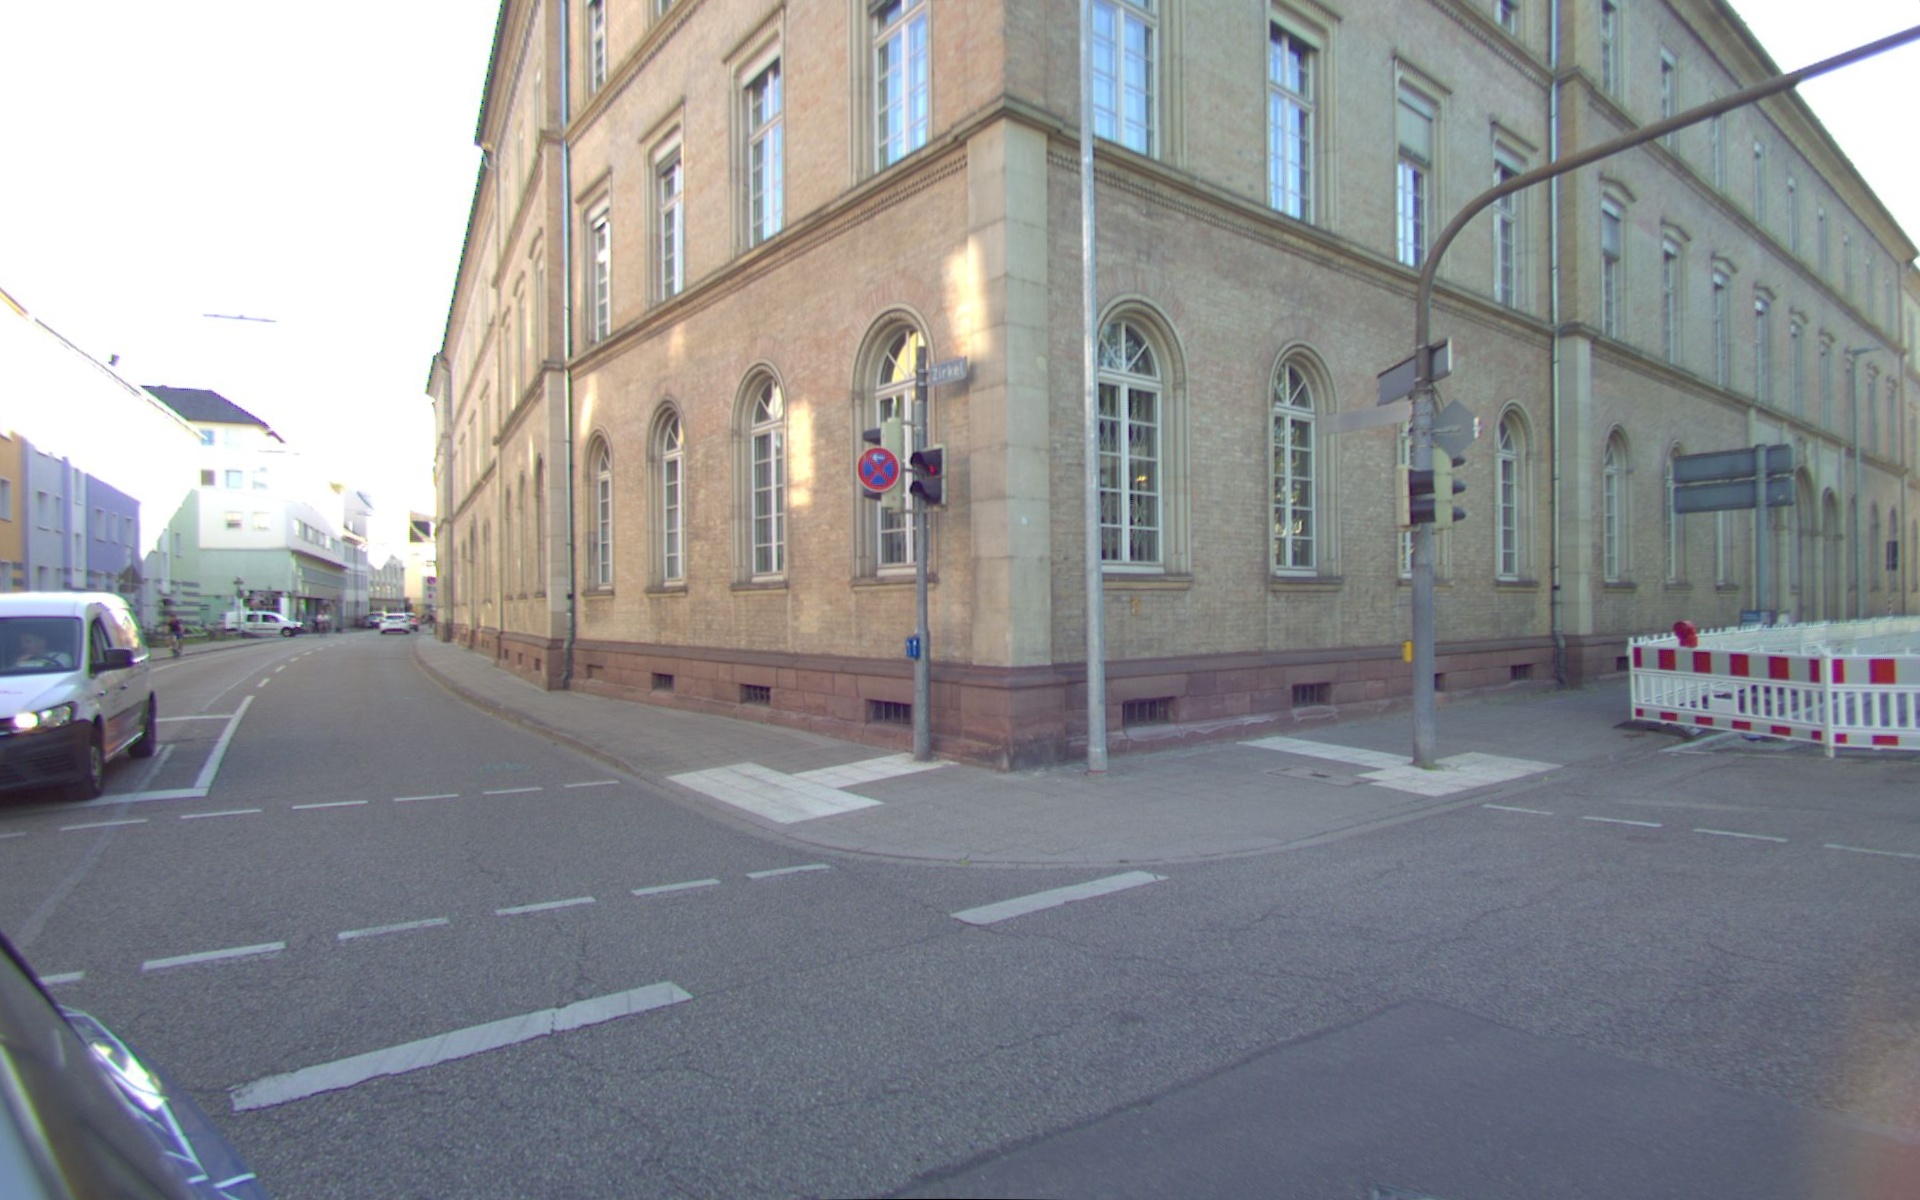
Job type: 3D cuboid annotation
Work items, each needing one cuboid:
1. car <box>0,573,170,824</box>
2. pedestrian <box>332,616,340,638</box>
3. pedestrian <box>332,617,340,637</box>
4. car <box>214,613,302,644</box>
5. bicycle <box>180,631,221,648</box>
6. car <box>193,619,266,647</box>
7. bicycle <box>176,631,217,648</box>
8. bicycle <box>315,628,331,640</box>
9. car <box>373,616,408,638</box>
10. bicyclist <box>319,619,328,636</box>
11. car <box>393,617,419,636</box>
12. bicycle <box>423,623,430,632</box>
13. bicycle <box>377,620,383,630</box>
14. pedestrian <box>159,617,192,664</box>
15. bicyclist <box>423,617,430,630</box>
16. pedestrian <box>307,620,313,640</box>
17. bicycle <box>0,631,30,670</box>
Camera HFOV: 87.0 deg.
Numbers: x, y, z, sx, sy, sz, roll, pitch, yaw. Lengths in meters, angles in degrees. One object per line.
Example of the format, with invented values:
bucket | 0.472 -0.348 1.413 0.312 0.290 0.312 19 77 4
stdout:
car | -8.891 0.777 9.511 1.790 1.850 5.356 -1 -1 -32
pedestrian | -50.027 2.181 81.163 0.500 1.775 0.413 -1 -1 -29
pedestrian | -51.503 2.236 83.572 0.500 1.572 0.413 -1 -1 -29
car | -47.878 1.906 69.145 4.686 1.953 2.007 -1 -1 -24
bicycle | -43.307 2.266 57.719 1.747 0.946 0.585 1 -1 -26
car | -51.480 2.329 71.389 3.932 1.704 1.907 -3 1 -29
bicycle | -42.531 2.211 56.386 1.747 0.946 0.585 1 -1 -26
bicycle | -42.069 2.247 66.884 0.344 0.729 1.117 -1 -1 1
car | -40.898 1.943 72.785 1.860 1.487 4.560 1 -1 -25
bicyclist | -42.081 1.806 66.893 0.344 1.116 0.367 -1 -1 2
car | -47.338 2.249 86.491 1.661 1.594 4.288 2 -2 -26
bicycle | -59.004 3.017 111.935 0.599 0.935 2.271 -1 -1 -29
bicycle | -64.546 2.824 112.626 0.539 1.091 1.970 -1 0 -27
pedestrian | -27.819 1.413 35.897 0.756 1.632 0.937 -1 -1 -29
bicyclist | -59.023 2.621 111.954 0.594 1.454 0.580 -1 -1 -29
pedestrian | -51.555 2.367 80.270 0.365 1.567 0.405 0 -1 -28
bicycle | -29.189 1.518 30.410 1.748 1.133 0.585 1 -1 -34
